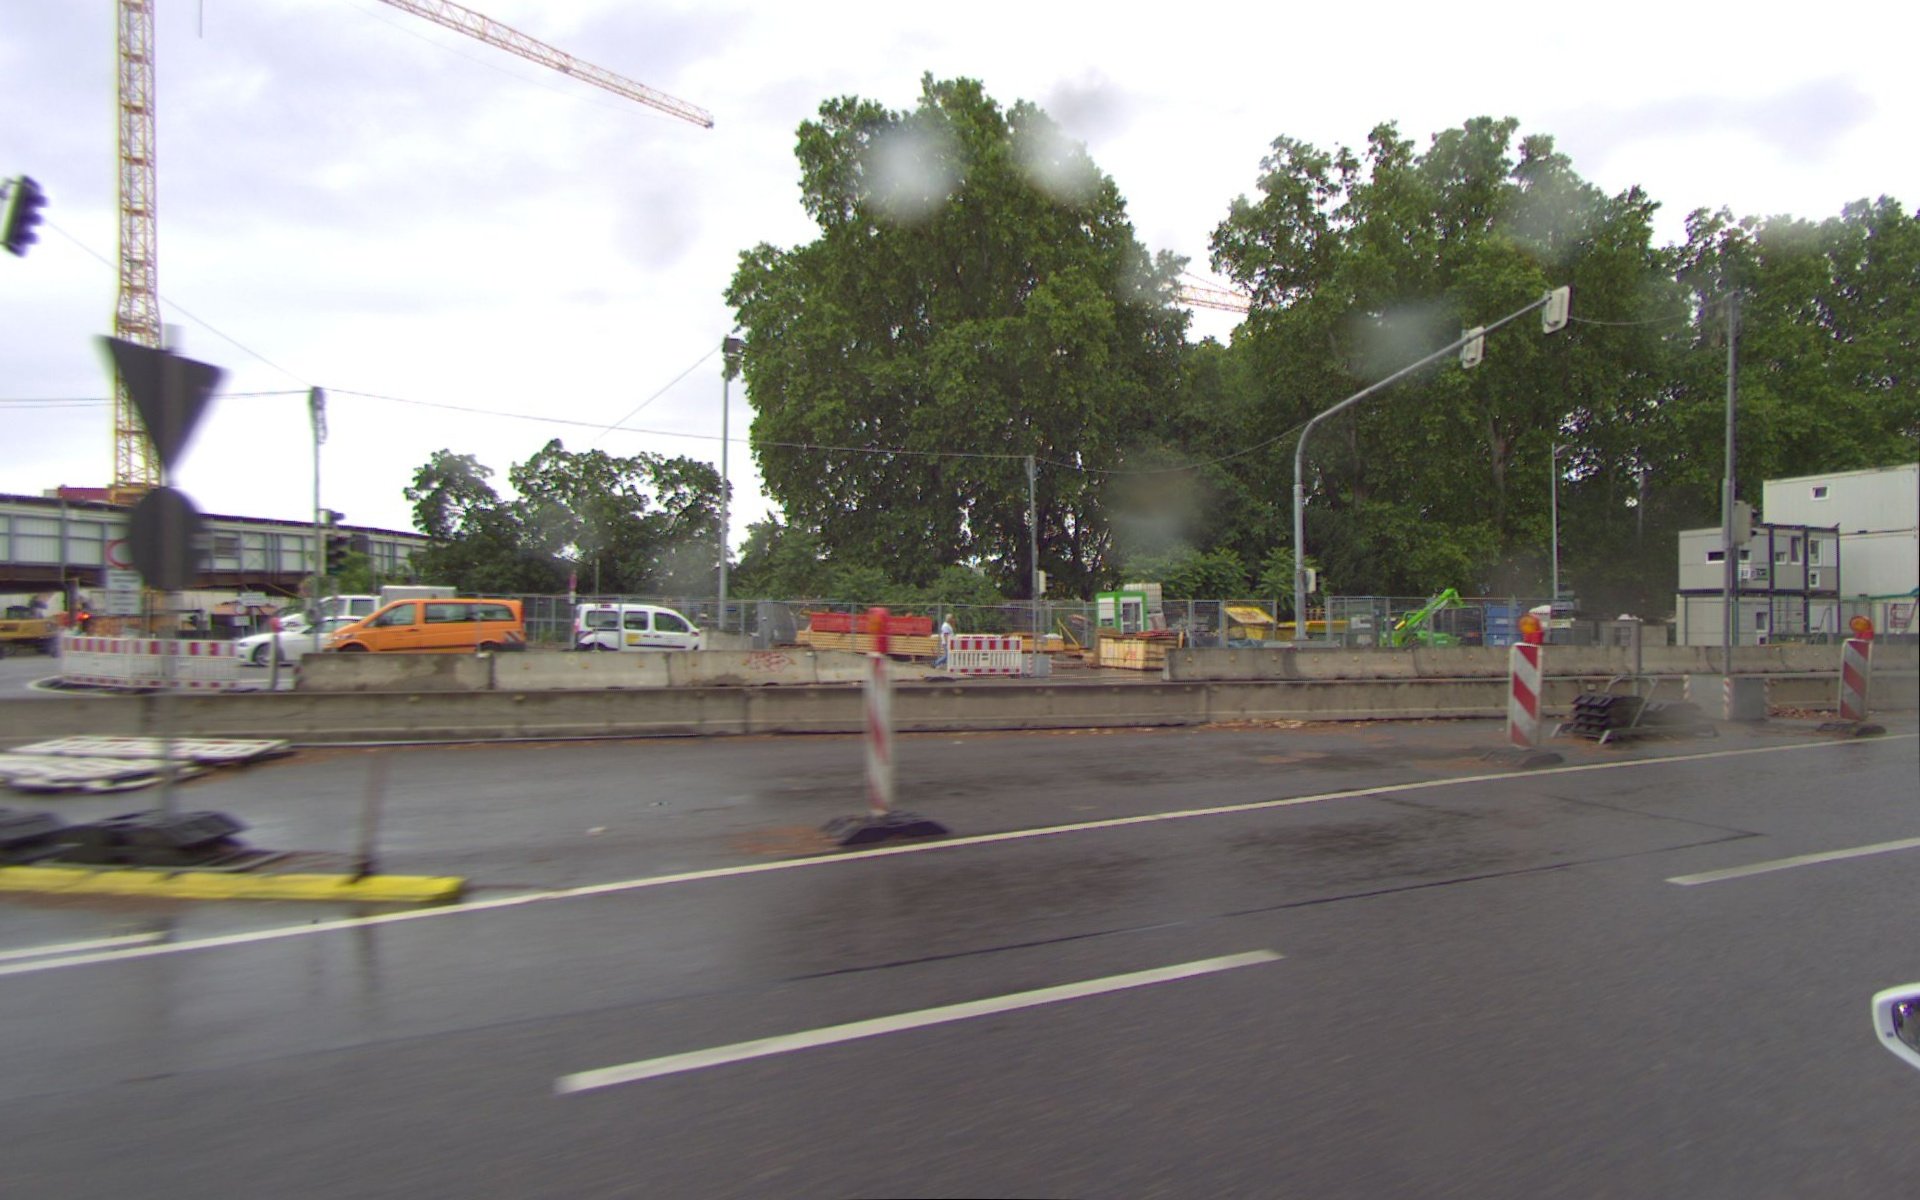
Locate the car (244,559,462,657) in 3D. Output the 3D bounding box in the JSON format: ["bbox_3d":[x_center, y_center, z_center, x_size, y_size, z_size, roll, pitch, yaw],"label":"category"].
[{"bbox_3d":[-20.497,0.341,34.362,6.085,3.106,2.268,1,-2,-25],"label":"car"}]

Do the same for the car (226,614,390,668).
[{"bbox_3d":[-18.445,1.160,28.520,3.795,1.433,1.746,2,-3,-35],"label":"car"}]

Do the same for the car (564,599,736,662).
[{"bbox_3d":[-9.268,0.928,30.071,4.730,1.784,1.841,1,-2,-24],"label":"car"}]

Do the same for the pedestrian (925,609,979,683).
[{"bbox_3d":[-0.215,1.289,28.618,1.151,2.040,1.182,0,0,25],"label":"pedestrian"}]

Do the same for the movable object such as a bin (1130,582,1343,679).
[{"bbox_3d":[9.852,1.112,36.023,6.297,3.169,3.924,1,-2,-23],"label":"movable object such as a bin"}]

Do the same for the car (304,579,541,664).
[{"bbox_3d":[-14.543,0.652,27.534,5.510,2.128,1.987,1,-4,-27],"label":"car"}]

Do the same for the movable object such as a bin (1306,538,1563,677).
[{"bbox_3d":[18.291,0.412,38.897,8.241,4.866,4.740,1,-2,-23],"label":"movable object such as a bin"}]
